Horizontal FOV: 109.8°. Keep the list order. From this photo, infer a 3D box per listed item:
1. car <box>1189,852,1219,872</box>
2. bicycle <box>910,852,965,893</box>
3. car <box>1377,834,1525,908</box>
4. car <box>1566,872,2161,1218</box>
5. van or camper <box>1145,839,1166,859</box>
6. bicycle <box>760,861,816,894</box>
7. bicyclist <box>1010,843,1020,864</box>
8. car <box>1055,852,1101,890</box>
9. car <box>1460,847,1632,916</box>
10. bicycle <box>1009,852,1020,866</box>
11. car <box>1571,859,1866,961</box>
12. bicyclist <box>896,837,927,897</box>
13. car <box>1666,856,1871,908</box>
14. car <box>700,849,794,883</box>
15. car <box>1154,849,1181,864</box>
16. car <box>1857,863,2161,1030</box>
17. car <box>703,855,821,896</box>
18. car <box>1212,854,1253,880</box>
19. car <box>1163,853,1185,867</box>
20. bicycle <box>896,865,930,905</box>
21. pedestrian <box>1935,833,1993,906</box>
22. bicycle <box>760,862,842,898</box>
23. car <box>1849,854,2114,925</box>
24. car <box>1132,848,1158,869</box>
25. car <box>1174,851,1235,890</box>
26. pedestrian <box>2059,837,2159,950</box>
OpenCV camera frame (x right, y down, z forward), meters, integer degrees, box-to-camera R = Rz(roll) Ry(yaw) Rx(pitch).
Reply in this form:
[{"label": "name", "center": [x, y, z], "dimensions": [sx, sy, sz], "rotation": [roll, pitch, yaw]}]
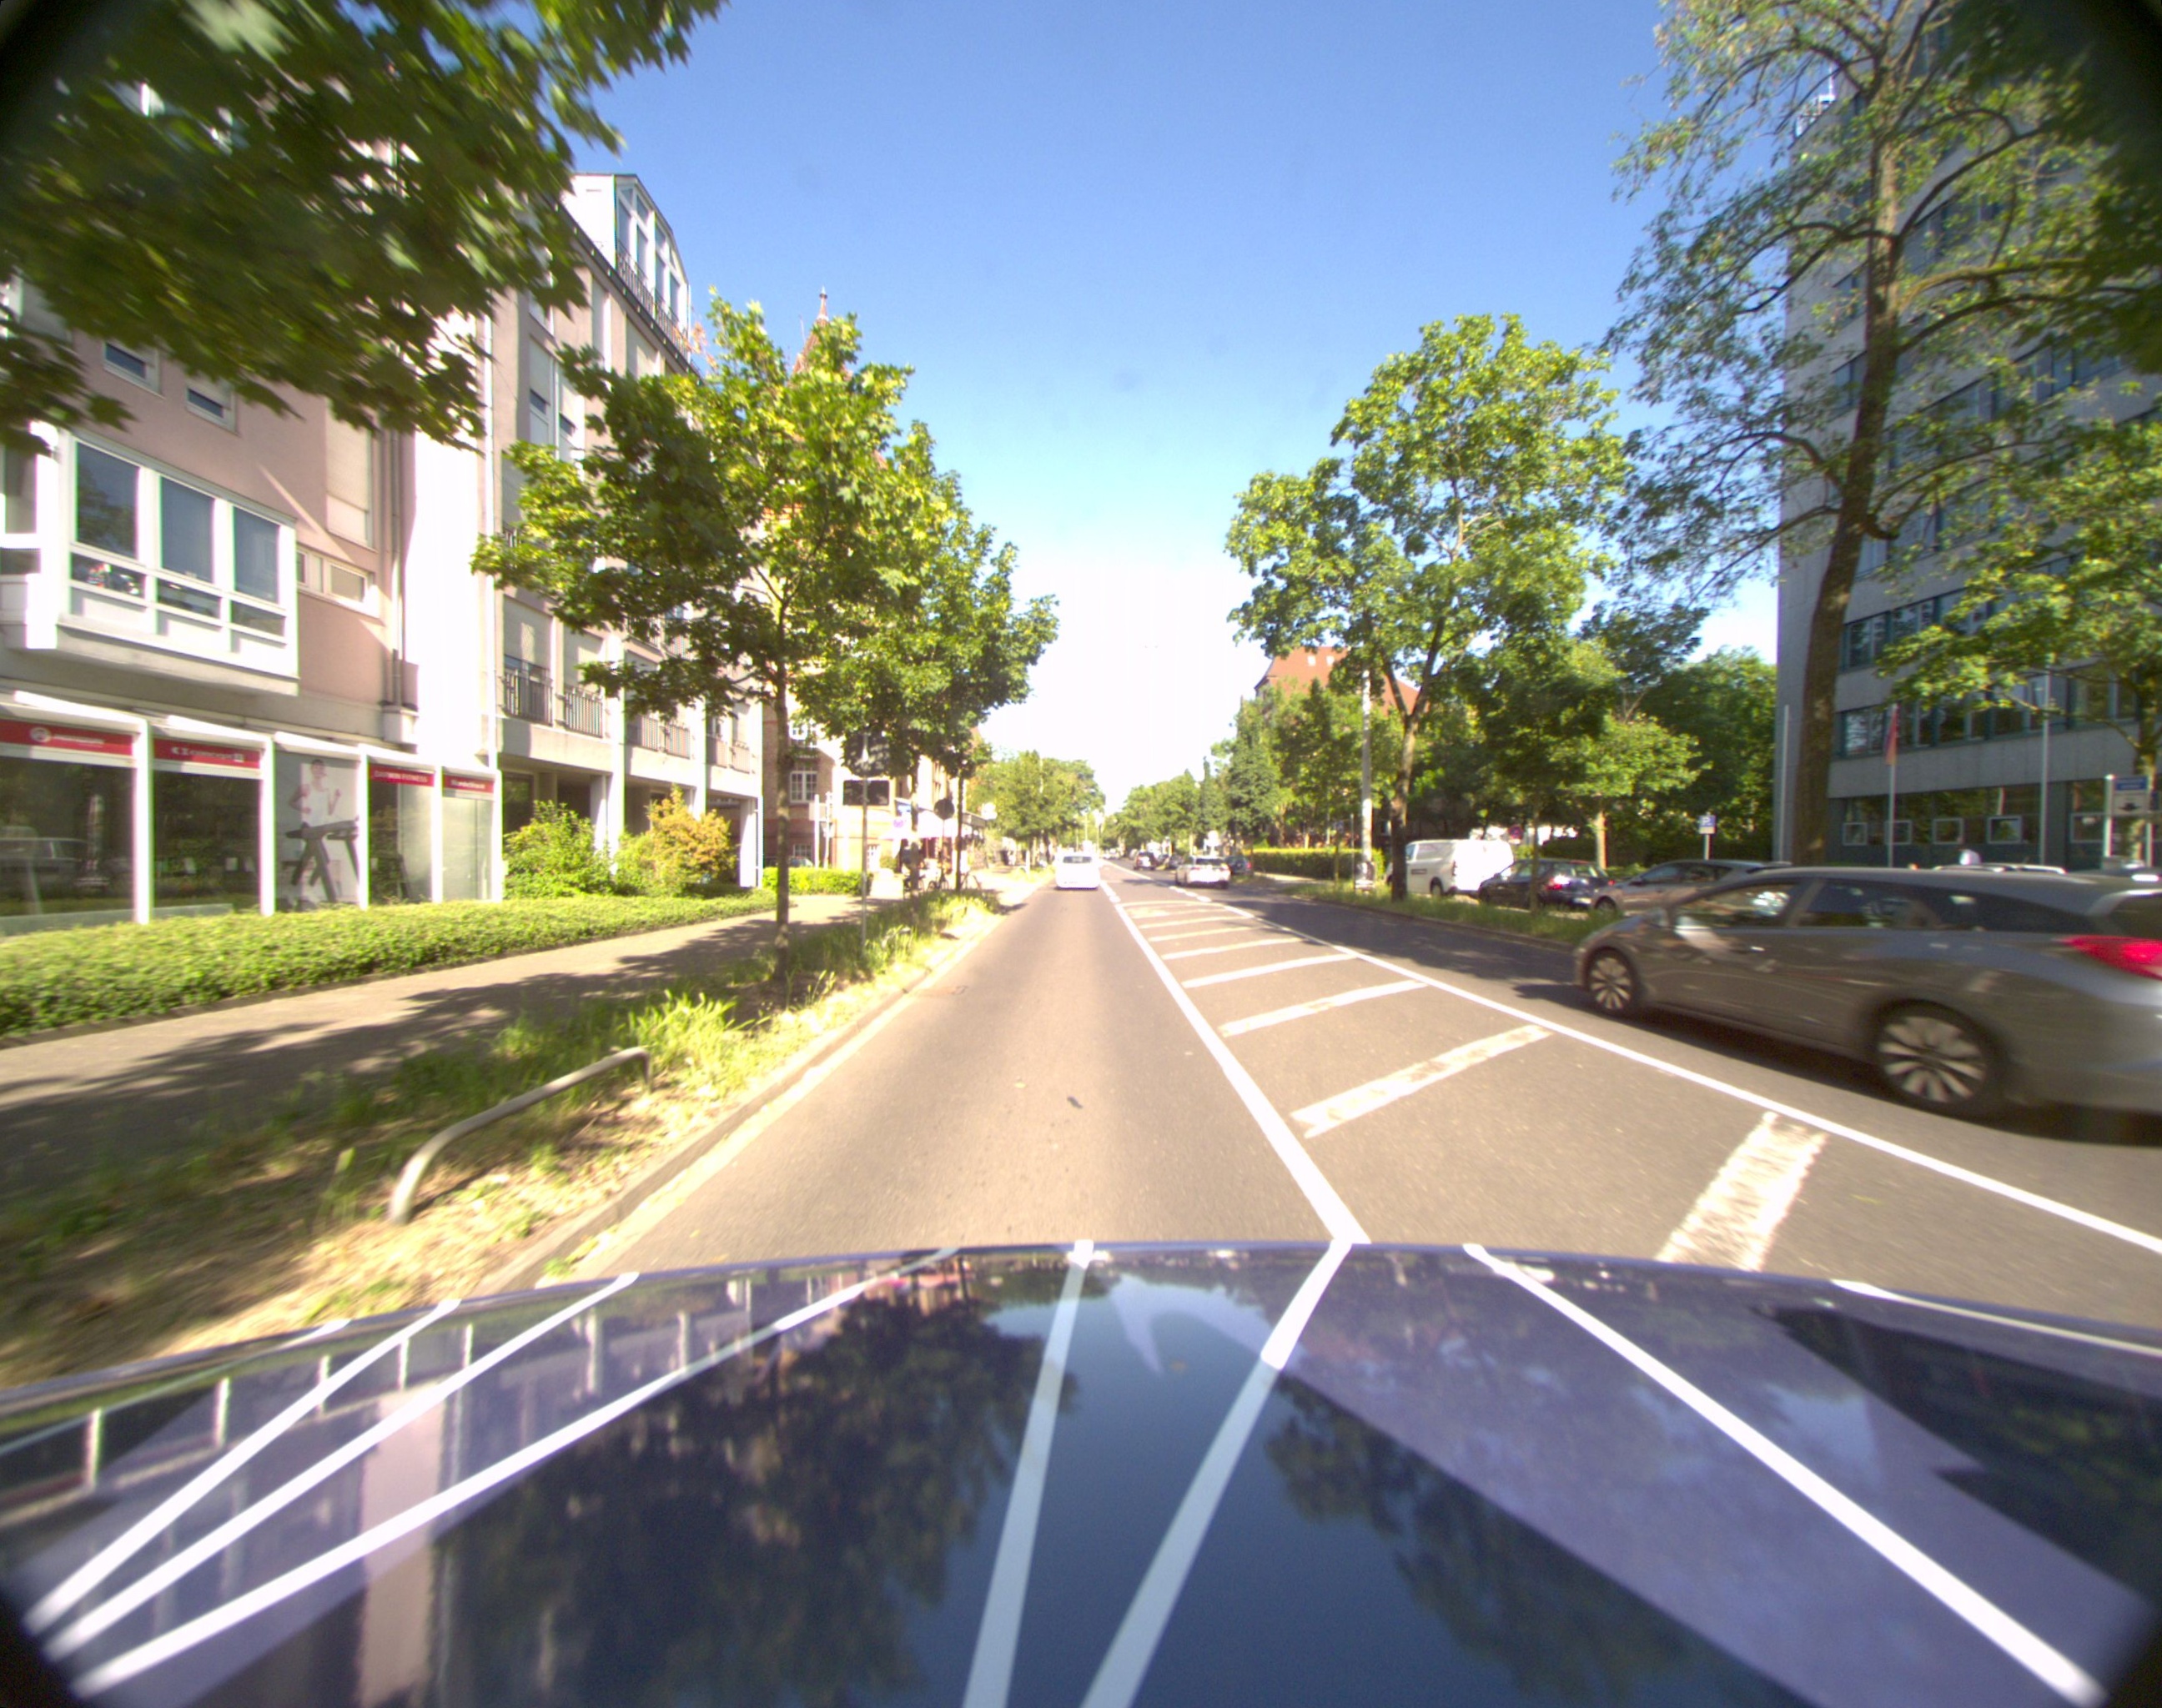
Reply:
[{"label": "car", "center": [9.226, 0.576, 57.286], "dimensions": [1.692, 1.375, 4.191], "rotation": [-2, 0, 3]}, {"label": "bicycle", "center": [-3.841, 0.474, 20.520], "dimensions": [0.591, 1.060, 2.025], "rotation": [0, 1, 16]}, {"label": "car", "center": [11.674, 0.465, 24.484], "dimensions": [1.986, 2.064, 5.194], "rotation": [2, 1, -3]}, {"label": "car", "center": [5.771, 0.932, 5.347], "dimensions": [1.860, 1.431, 4.317], "rotation": [2, 0, -1]}, {"label": "van or camper", "center": [10.484, -0.730, 107.316], "dimensions": [2.222, 2.723, 6.087], "rotation": [0, 0, 0]}, {"label": "bicycle", "center": [-9.608, 0.772, 25.001], "dimensions": [0.686, 1.021, 2.205], "rotation": [1, -1, 8]}, {"label": "bicyclist", "center": [-5.537, -0.036, 64.058], "dimensions": [0.647, 1.685, 0.889], "rotation": [3, 0, 1]}, {"label": "car", "center": [-0.065, 0.642, 31.000], "dimensions": [1.652, 1.449, 3.897], "rotation": [0, 0, 2]}, {"label": "car", "center": [11.447, 0.594, 19.105], "dimensions": [1.786, 1.514, 4.318], "rotation": [-1, 1, 2]}, {"label": "bicycle", "center": [-5.578, 0.400, 64.056], "dimensions": [0.654, 1.169, 1.843], "rotation": [3, 0, 1]}, {"label": "car", "center": [11.481, 0.899, 14.171], "dimensions": [1.860, 1.514, 4.318], "rotation": [-1, 1, 0]}, {"label": "bicyclist", "center": [-4.864, 0.354, 21.783], "dimensions": [0.669, 1.686, 0.889], "rotation": [-1, 2, -1]}, {"label": "car", "center": [20.935, 0.820, 23.271], "dimensions": [4.625, 1.434, 1.937], "rotation": [-1, 1, -2]}, {"label": "car", "center": [-16.405, 0.565, 37.341], "dimensions": [3.949, 1.515, 1.796], "rotation": [0, 4, 16]}, {"label": "car", "center": [9.136, 0.230, 80.276], "dimensions": [1.861, 1.485, 4.703], "rotation": [-3, 1, -5]}, {"label": "car", "center": [11.381, 0.916, 8.230], "dimensions": [1.860, 1.514, 4.063], "rotation": [-1, 1, 1]}, {"label": "car", "center": [-12.678, 0.839, 30.307], "dimensions": [3.950, 1.514, 1.863], "rotation": [-1, 1, 13]}, {"label": "car", "center": [9.028, 0.735, 45.457], "dimensions": [1.716, 1.450, 4.072], "rotation": [-1, 1, 1]}, {"label": "car", "center": [8.901, 0.590, 72.917], "dimensions": [1.682, 1.248, 4.014], "rotation": [-1, 1, 0]}, {"label": "bicycle", "center": [-4.804, 0.870, 21.814], "dimensions": [0.591, 1.022, 1.859], "rotation": [0, 1, -1]}, {"label": "pedestrian", "center": [25.884, 0.449, 22.297], "dimensions": [0.773, 2.081, 0.792], "rotation": [-2, 2, 1]}, {"label": "bicycle", "center": [-8.400, 0.786, 22.851], "dimensions": [2.201, 1.021, 0.687], "rotation": [1, -1, 2]}, {"label": "car", "center": [21.435, 0.801, 18.217], "dimensions": [4.316, 1.514, 1.861], "rotation": [-1, 1, -3]}, {"label": "car", "center": [5.846, 0.363, 69.451], "dimensions": [1.860, 1.814, 4.609], "rotation": [2, 0, -1]}, {"label": "car", "center": [5.487, 0.693, 34.352], "dimensions": [1.861, 1.559, 4.714], "rotation": [2, 1, -2]}, {"label": "pedestrian", "center": [19.427, 0.724, 14.381], "dimensions": [0.790, 2.081, 0.774], "rotation": [-1, 2, 11]}]
